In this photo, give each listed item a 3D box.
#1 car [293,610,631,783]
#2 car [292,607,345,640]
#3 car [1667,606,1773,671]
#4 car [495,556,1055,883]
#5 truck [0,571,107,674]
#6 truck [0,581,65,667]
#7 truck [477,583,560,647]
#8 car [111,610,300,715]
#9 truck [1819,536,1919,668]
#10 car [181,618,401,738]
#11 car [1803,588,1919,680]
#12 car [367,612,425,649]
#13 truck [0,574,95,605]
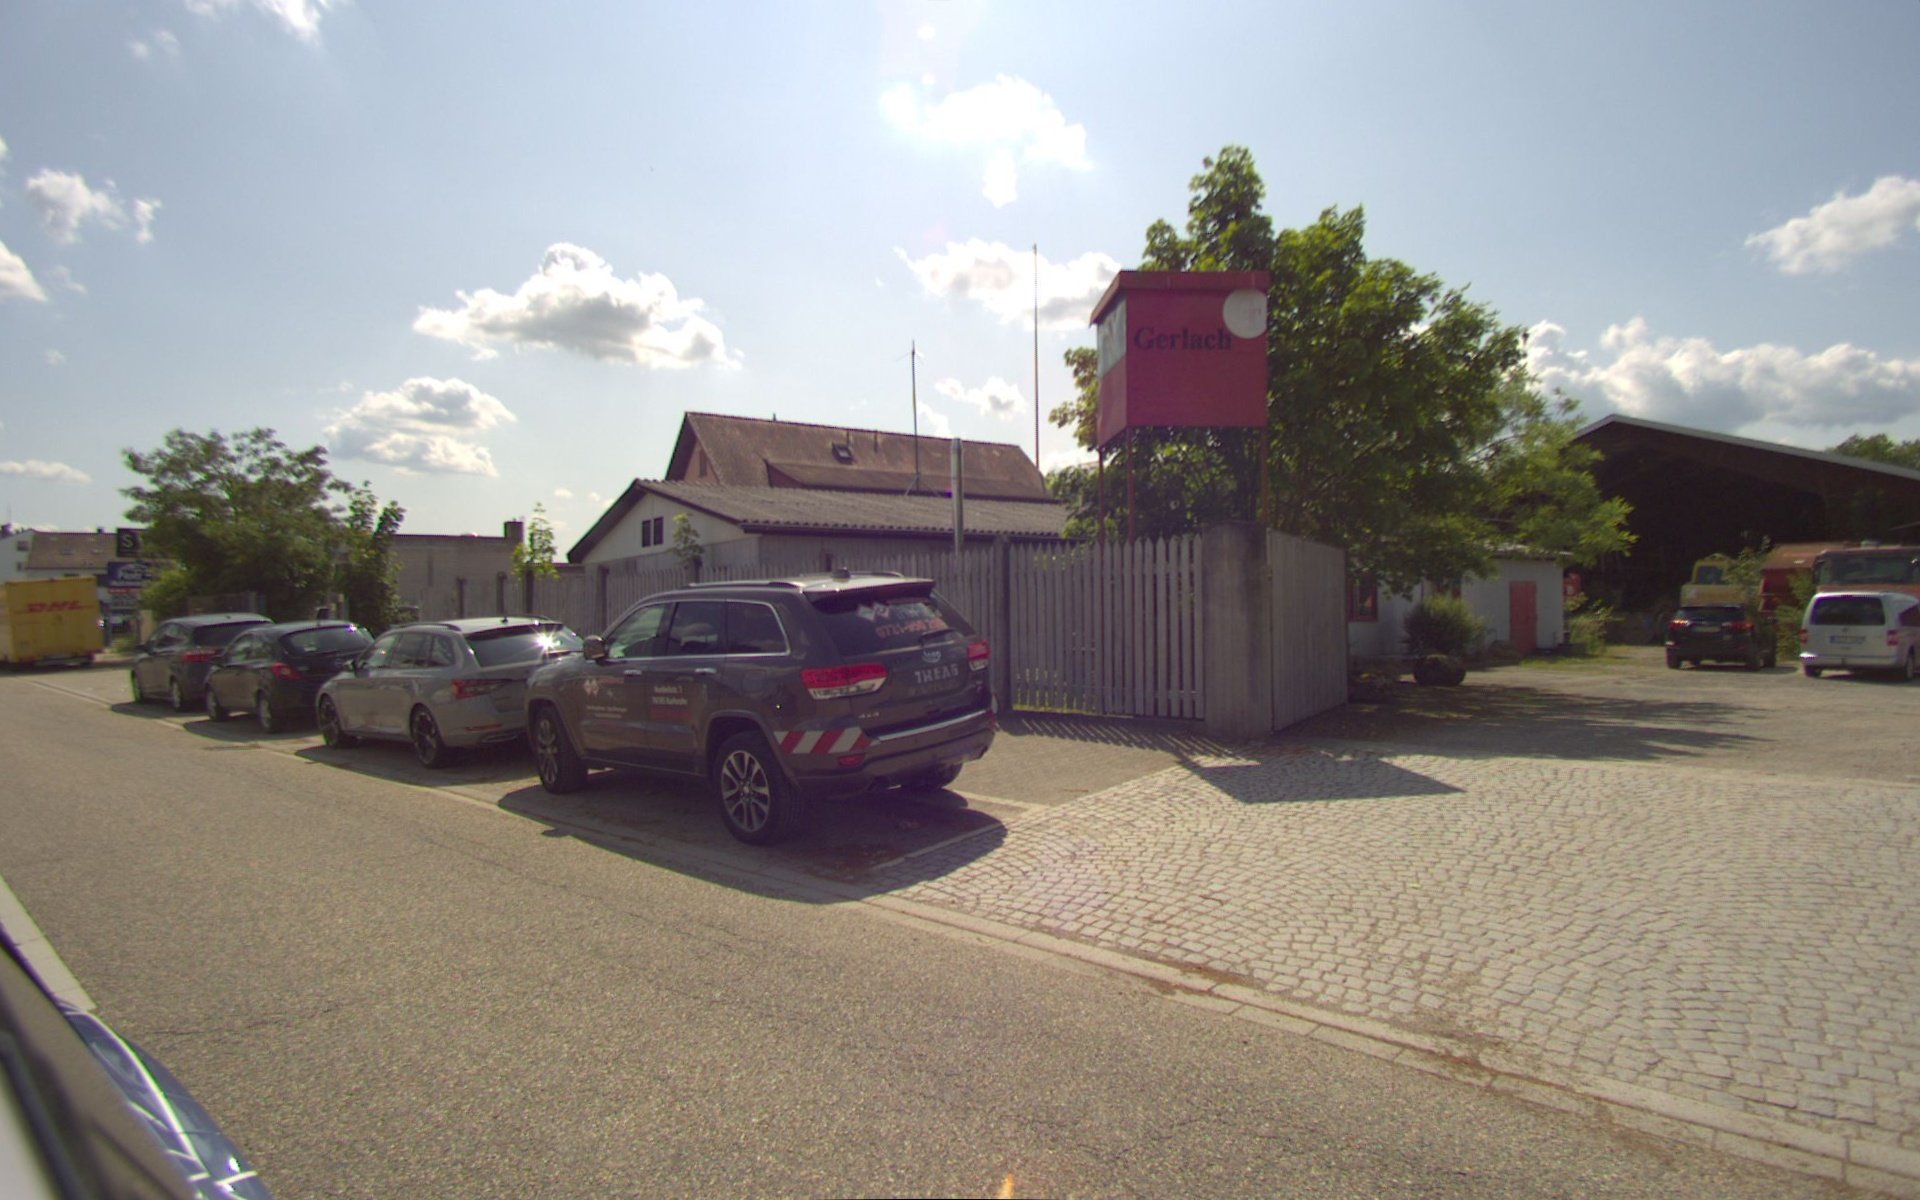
[{"bbox_3d":[-5.899,0.972,11.695,4.739,1.529,1.716,-2,1,41],"label":"car"},{"bbox_3d":[-27.630,1.033,43.534,1.785,1.315,3.879,0,-2,-34],"label":"car"},{"bbox_3d":[18.681,0.915,24.840,1.702,1.467,3.312,-1,-2,43],"label":"car"},{"bbox_3d":[-1.733,0.679,8.056,4.786,1.836,1.898,-1,1,44],"label":"car"},{"bbox_3d":[-29.304,0.672,32.068,7.100,2.884,2.292,-1,2,41],"label":"truck"},{"bbox_3d":[-34.680,0.908,36.709,7.169,2.876,2.246,-2,0,40],"label":"truck"},{"bbox_3d":[-18.680,0.622,42.647,2.082,2.506,5.734,-1,-1,-35],"label":"truck"},{"bbox_3d":[-13.949,1.068,18.623,4.409,1.616,1.708,-1,3,39],"label":"car"},{"bbox_3d":[23.894,0.060,25.718,4.641,3.088,2.137,0,-1,-37],"label":"truck"},{"bbox_3d":[-10.224,1.087,15.368,4.023,1.459,1.612,-1,4,40],"label":"car"},{"bbox_3d":[19.412,0.704,21.400,3.306,1.789,1.853,1,-2,-40],"label":"car"},{"bbox_3d":[-24.807,1.320,44.466,1.742,1.524,3.926,-1,-1,-36],"label":"car"},{"bbox_3d":[-89.593,-0.948,97.609,9.152,2.878,2.722,0,-2,-45],"label":"truck"}]
